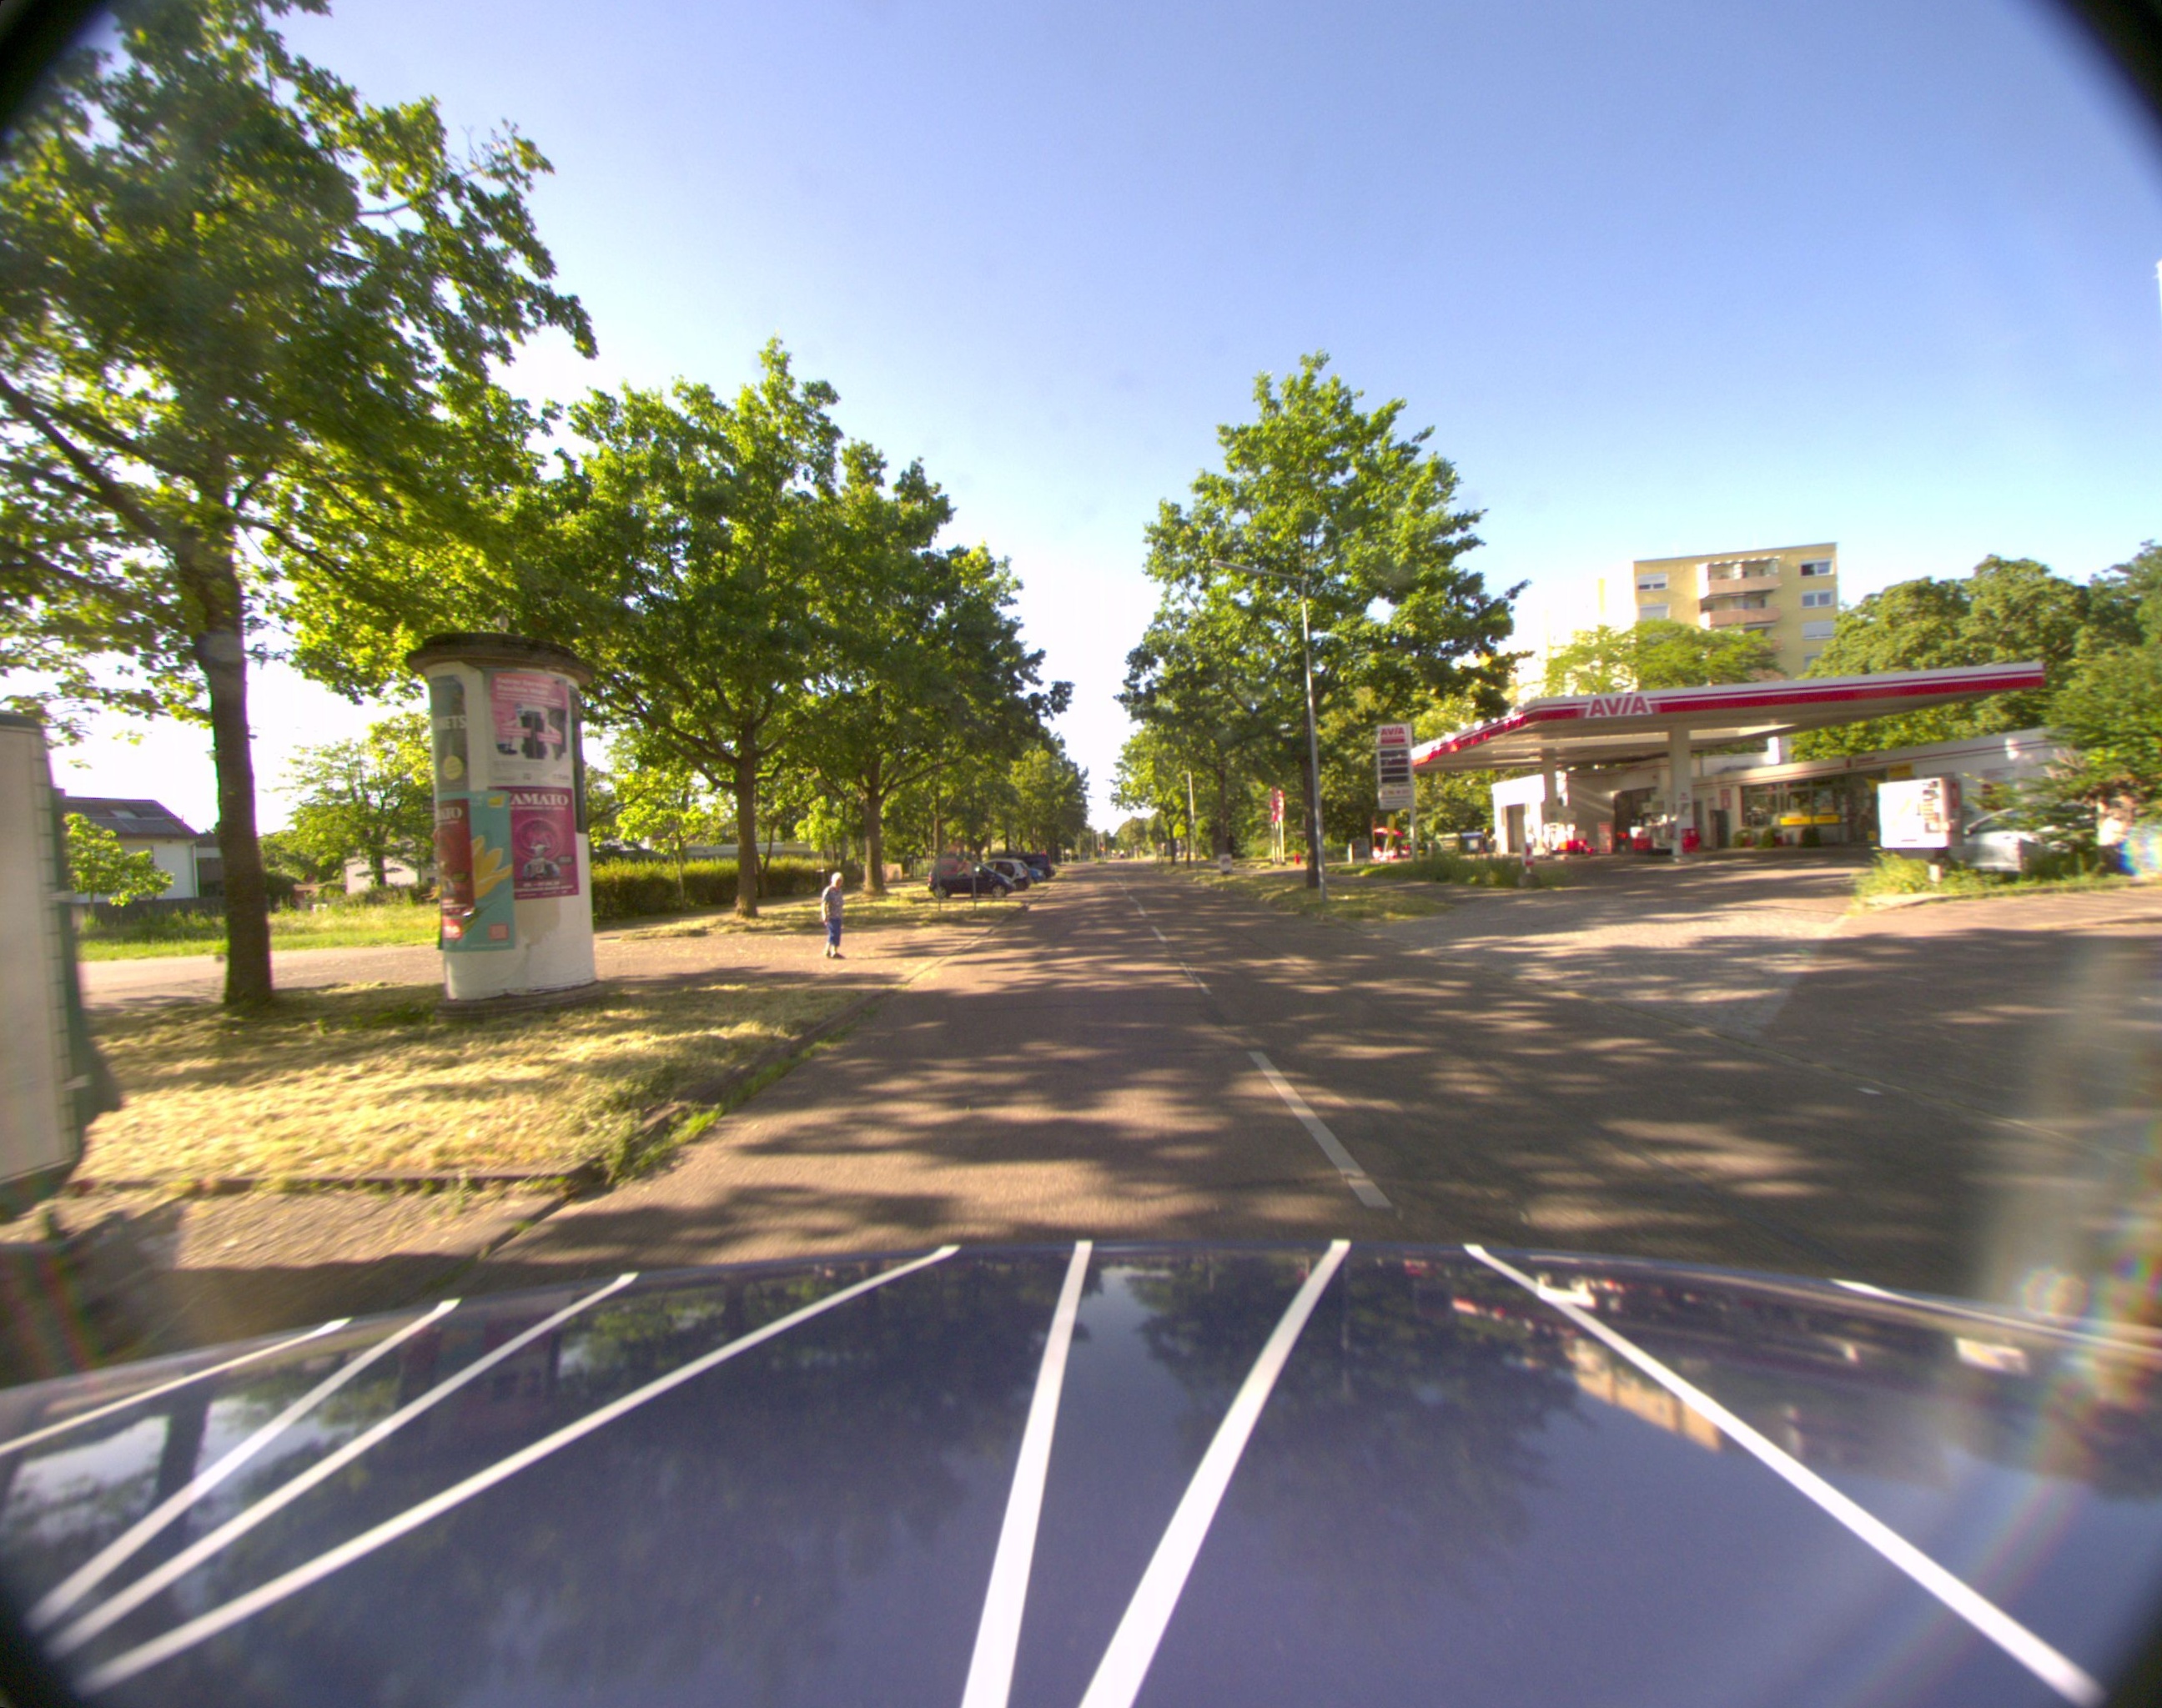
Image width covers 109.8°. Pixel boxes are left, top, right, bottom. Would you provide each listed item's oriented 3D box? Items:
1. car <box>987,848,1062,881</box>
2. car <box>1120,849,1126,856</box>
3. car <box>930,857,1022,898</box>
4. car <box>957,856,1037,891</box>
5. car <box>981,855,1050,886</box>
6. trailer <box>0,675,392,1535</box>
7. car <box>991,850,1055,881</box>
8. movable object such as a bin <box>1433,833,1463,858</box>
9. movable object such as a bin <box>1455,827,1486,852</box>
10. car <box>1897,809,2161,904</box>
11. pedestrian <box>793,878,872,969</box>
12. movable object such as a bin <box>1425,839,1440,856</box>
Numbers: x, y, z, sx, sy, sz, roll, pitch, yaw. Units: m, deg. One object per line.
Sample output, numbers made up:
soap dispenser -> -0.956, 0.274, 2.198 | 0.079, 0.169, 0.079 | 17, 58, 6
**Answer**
car -> -3.809, 0.683, 51.823 | 4.815, 2.020, 1.944 | -2, 1, 1
car -> 13.319, -0.590, 240.375 | 1.904, 2.082, 3.641 | -1, 0, 2
car -> -4.372, 0.960, 32.118 | 3.592, 1.567, 1.857 | -1, 1, 0
car -> -4.038, 0.935, 37.046 | 3.592, 1.567, 1.786 | -1, 1, 3
car -> -3.556, 0.894, 41.711 | 3.529, 1.523, 1.665 | -1, 1, 3
trailer -> -5.784, 0.721, 2.416 | 5.788, 2.304, 1.686 | -1, 1, 3
car -> -3.742, 0.729, 49.478 | 4.019, 1.826, 1.799 | -1, 1, -1
movable object such as a bin -> 24.205, -0.569, 50.130 | 1.307, 1.533, 1.268 | -3, 1, 2
movable object such as a bin -> 25.594, -0.950, 49.949 | 1.307, 1.533, 1.164 | -4, 1, 2
car -> 17.204, 0.014, 13.686 | 1.549, 1.414, 3.489 | -5, 0, 9
pedestrian -> -4.365, 1.189, 13.362 | 0.941, 1.491, 0.887 | -1, 0, 33
movable object such as a bin -> 23.254, -0.415, 50.276 | 0.570, 1.079, 0.768 | -3, 1, 2
